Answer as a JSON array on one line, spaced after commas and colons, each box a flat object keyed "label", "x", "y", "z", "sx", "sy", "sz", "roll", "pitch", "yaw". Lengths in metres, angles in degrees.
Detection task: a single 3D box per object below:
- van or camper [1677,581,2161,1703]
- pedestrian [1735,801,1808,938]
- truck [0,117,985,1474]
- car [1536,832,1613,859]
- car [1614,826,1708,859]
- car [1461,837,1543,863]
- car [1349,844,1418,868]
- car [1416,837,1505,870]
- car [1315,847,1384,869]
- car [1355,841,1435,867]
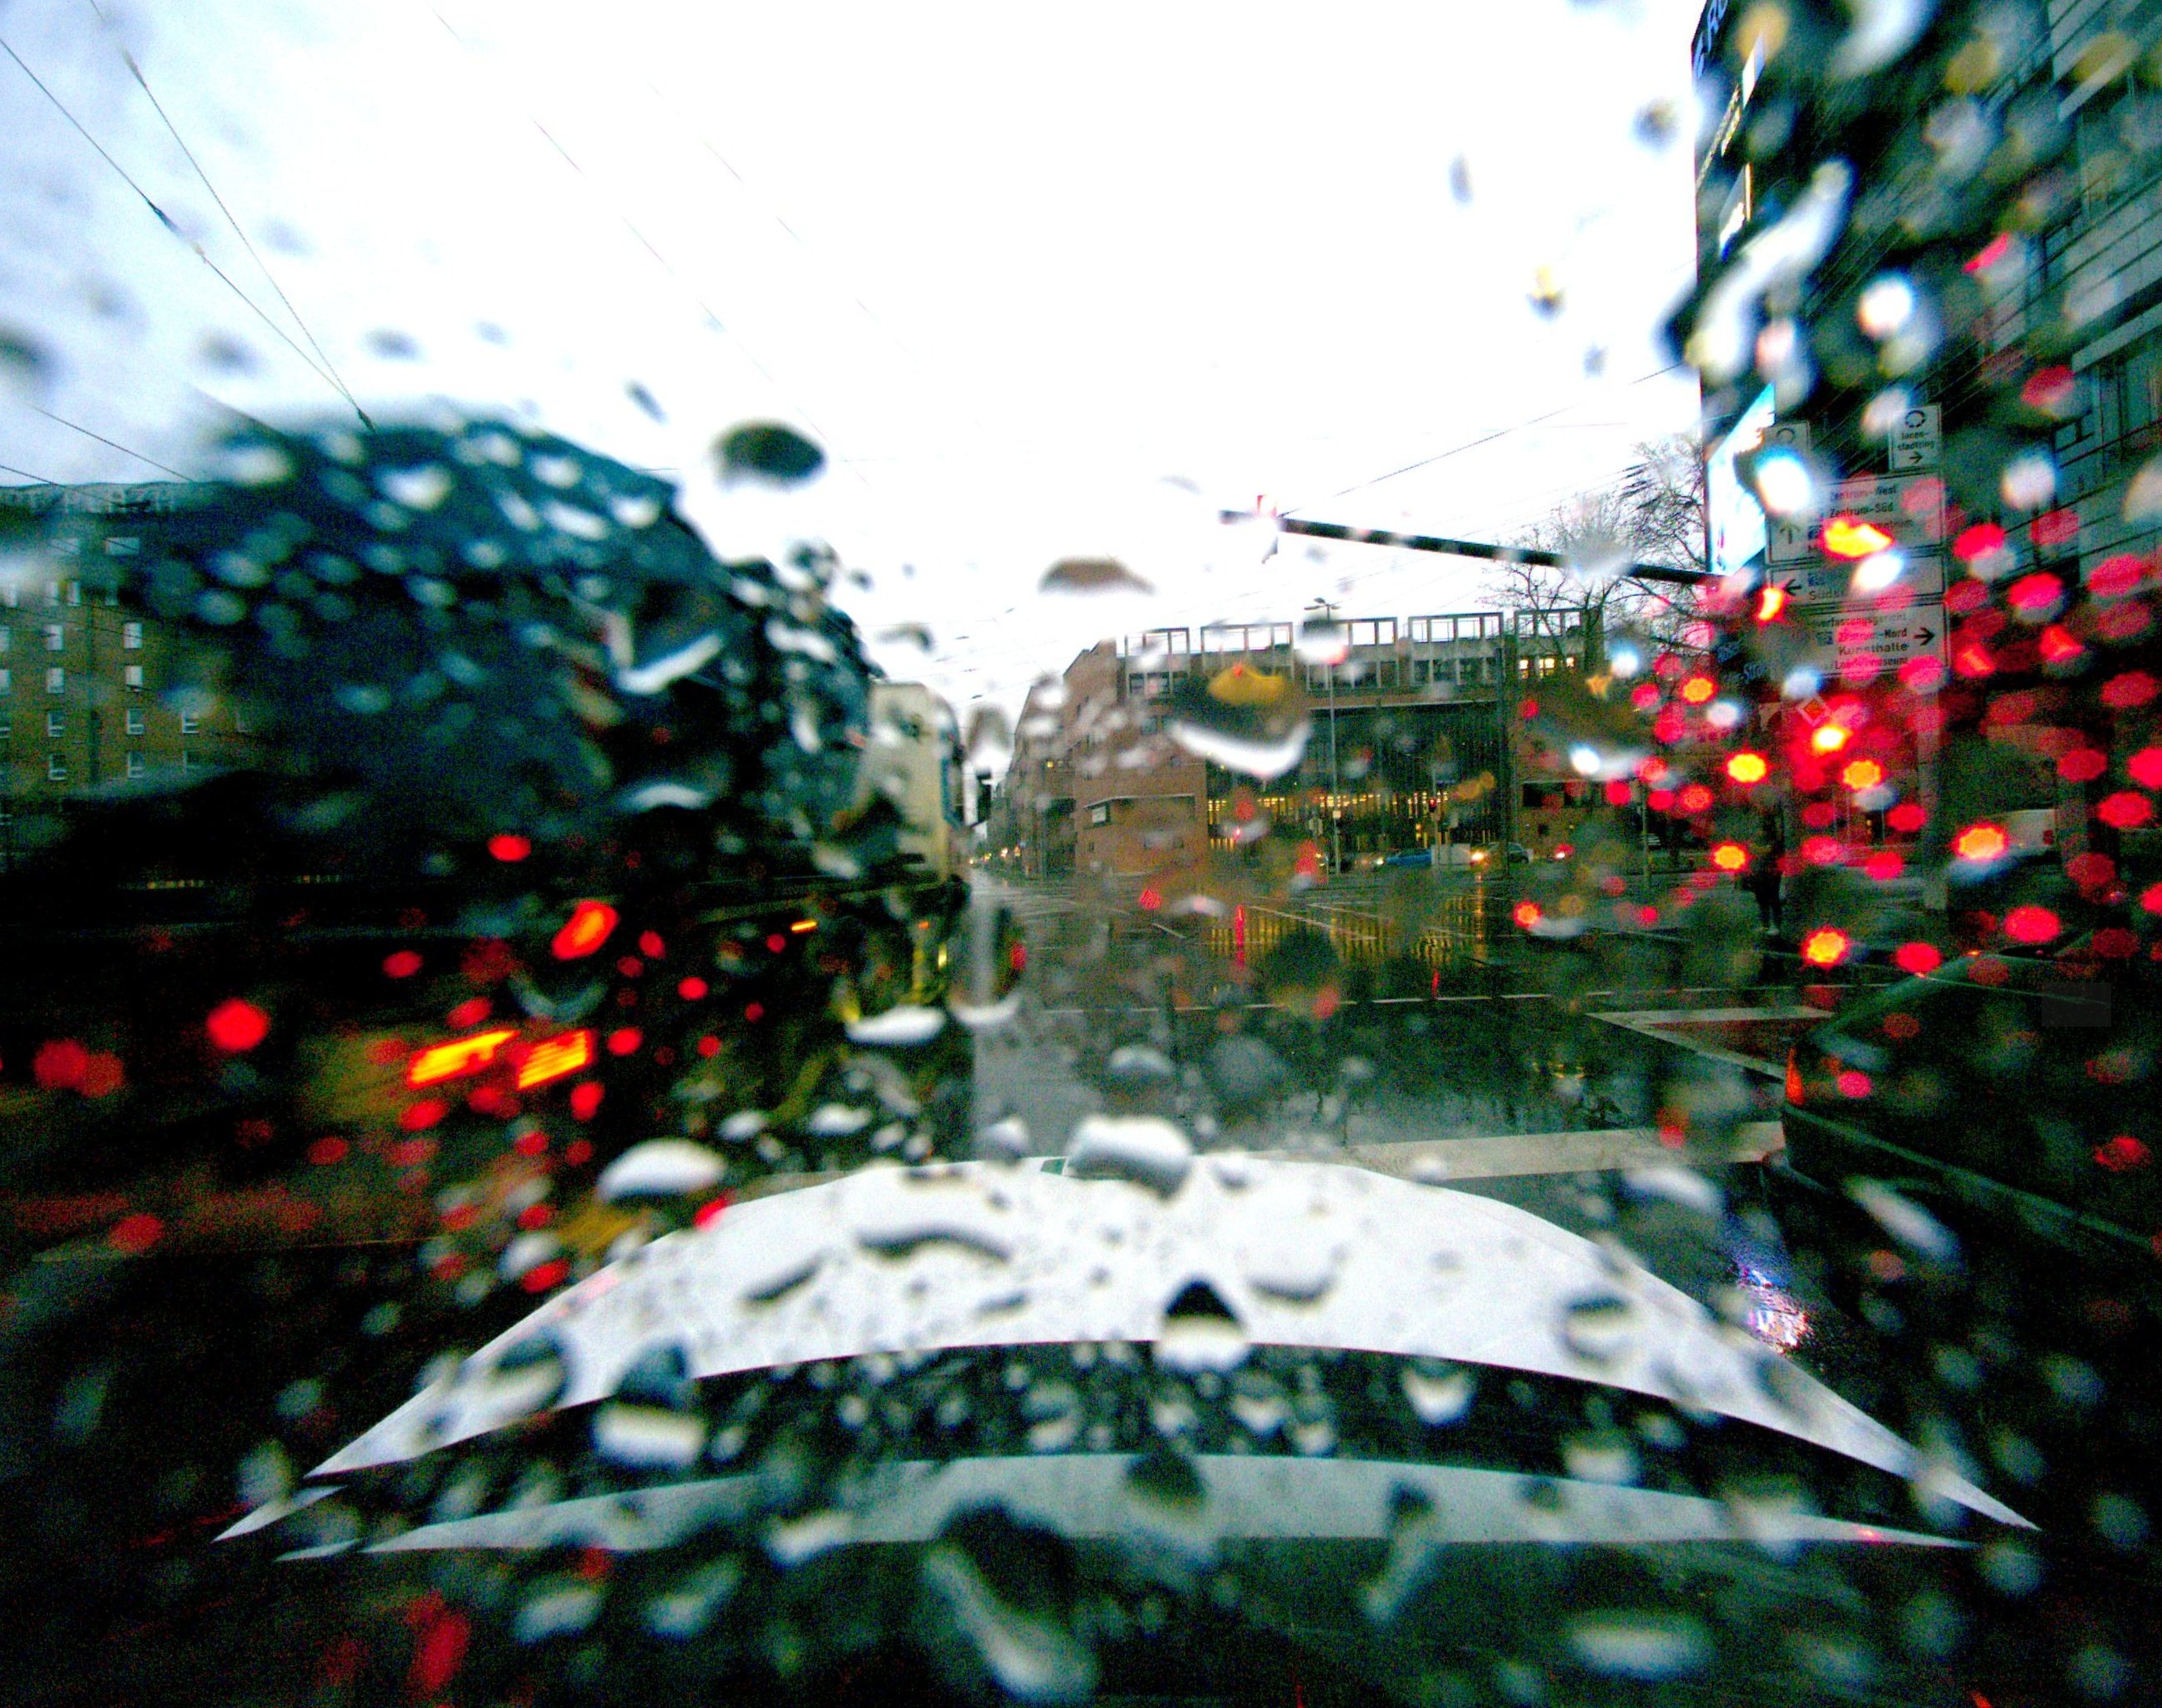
[{"label": "van or camper", "x": 2.673, "y": 0.485, "z": 0.314, "sx": 1.750, "sy": 1.906, "sz": 4.420, "roll": -1, "pitch": 0, "yaw": 2}, {"label": "pedestrian", "x": 11.288, "y": 0.252, "z": 13.327, "sx": 0.574, "sy": 2.184, "sz": 0.619, "roll": -1, "pitch": -1, "yaw": -4}, {"label": "truck", "x": -2.677, "y": -0.144, "z": 5.972, "sx": 2.829, "sy": 3.633, "sz": 7.527, "roll": -2, "pitch": 0, "yaw": 1}, {"label": "car", "x": 32.163, "y": -0.580, "z": 53.087, "sx": 3.979, "sy": 1.504, "sz": 1.845, "roll": -2, "pitch": 4, "yaw": -4}, {"label": "car", "x": 32.250, "y": -0.655, "z": 45.342, "sx": 3.979, "sy": 1.600, "sz": 1.845, "roll": -2, "pitch": 4, "yaw": -4}, {"label": "car", "x": 24.822, "y": -0.258, "z": 48.091, "sx": 3.979, "sy": 1.288, "sz": 1.845, "roll": -2, "pitch": 4, "yaw": -4}, {"label": "car", "x": 19.148, "y": 0.116, "z": 51.608, "sx": 3.713, "sy": 1.263, "sz": 1.845, "roll": -2, "pitch": 4, "yaw": -4}, {"label": "car", "x": 20.436, "y": -0.061, "z": 43.906, "sx": 3.979, "sy": 1.504, "sz": 1.845, "roll": -2, "pitch": 4, "yaw": -4}, {"label": "car", "x": 18.250, "y": 0.287, "z": 55.459, "sx": 3.977, "sy": 1.310, "sz": 1.998, "roll": -2, "pitch": 0, "yaw": -2}, {"label": "car", "x": 18.316, "y": 0.010, "z": 47.539, "sx": 3.979, "sy": 1.263, "sz": 1.845, "roll": -2, "pitch": 4, "yaw": -4}]
